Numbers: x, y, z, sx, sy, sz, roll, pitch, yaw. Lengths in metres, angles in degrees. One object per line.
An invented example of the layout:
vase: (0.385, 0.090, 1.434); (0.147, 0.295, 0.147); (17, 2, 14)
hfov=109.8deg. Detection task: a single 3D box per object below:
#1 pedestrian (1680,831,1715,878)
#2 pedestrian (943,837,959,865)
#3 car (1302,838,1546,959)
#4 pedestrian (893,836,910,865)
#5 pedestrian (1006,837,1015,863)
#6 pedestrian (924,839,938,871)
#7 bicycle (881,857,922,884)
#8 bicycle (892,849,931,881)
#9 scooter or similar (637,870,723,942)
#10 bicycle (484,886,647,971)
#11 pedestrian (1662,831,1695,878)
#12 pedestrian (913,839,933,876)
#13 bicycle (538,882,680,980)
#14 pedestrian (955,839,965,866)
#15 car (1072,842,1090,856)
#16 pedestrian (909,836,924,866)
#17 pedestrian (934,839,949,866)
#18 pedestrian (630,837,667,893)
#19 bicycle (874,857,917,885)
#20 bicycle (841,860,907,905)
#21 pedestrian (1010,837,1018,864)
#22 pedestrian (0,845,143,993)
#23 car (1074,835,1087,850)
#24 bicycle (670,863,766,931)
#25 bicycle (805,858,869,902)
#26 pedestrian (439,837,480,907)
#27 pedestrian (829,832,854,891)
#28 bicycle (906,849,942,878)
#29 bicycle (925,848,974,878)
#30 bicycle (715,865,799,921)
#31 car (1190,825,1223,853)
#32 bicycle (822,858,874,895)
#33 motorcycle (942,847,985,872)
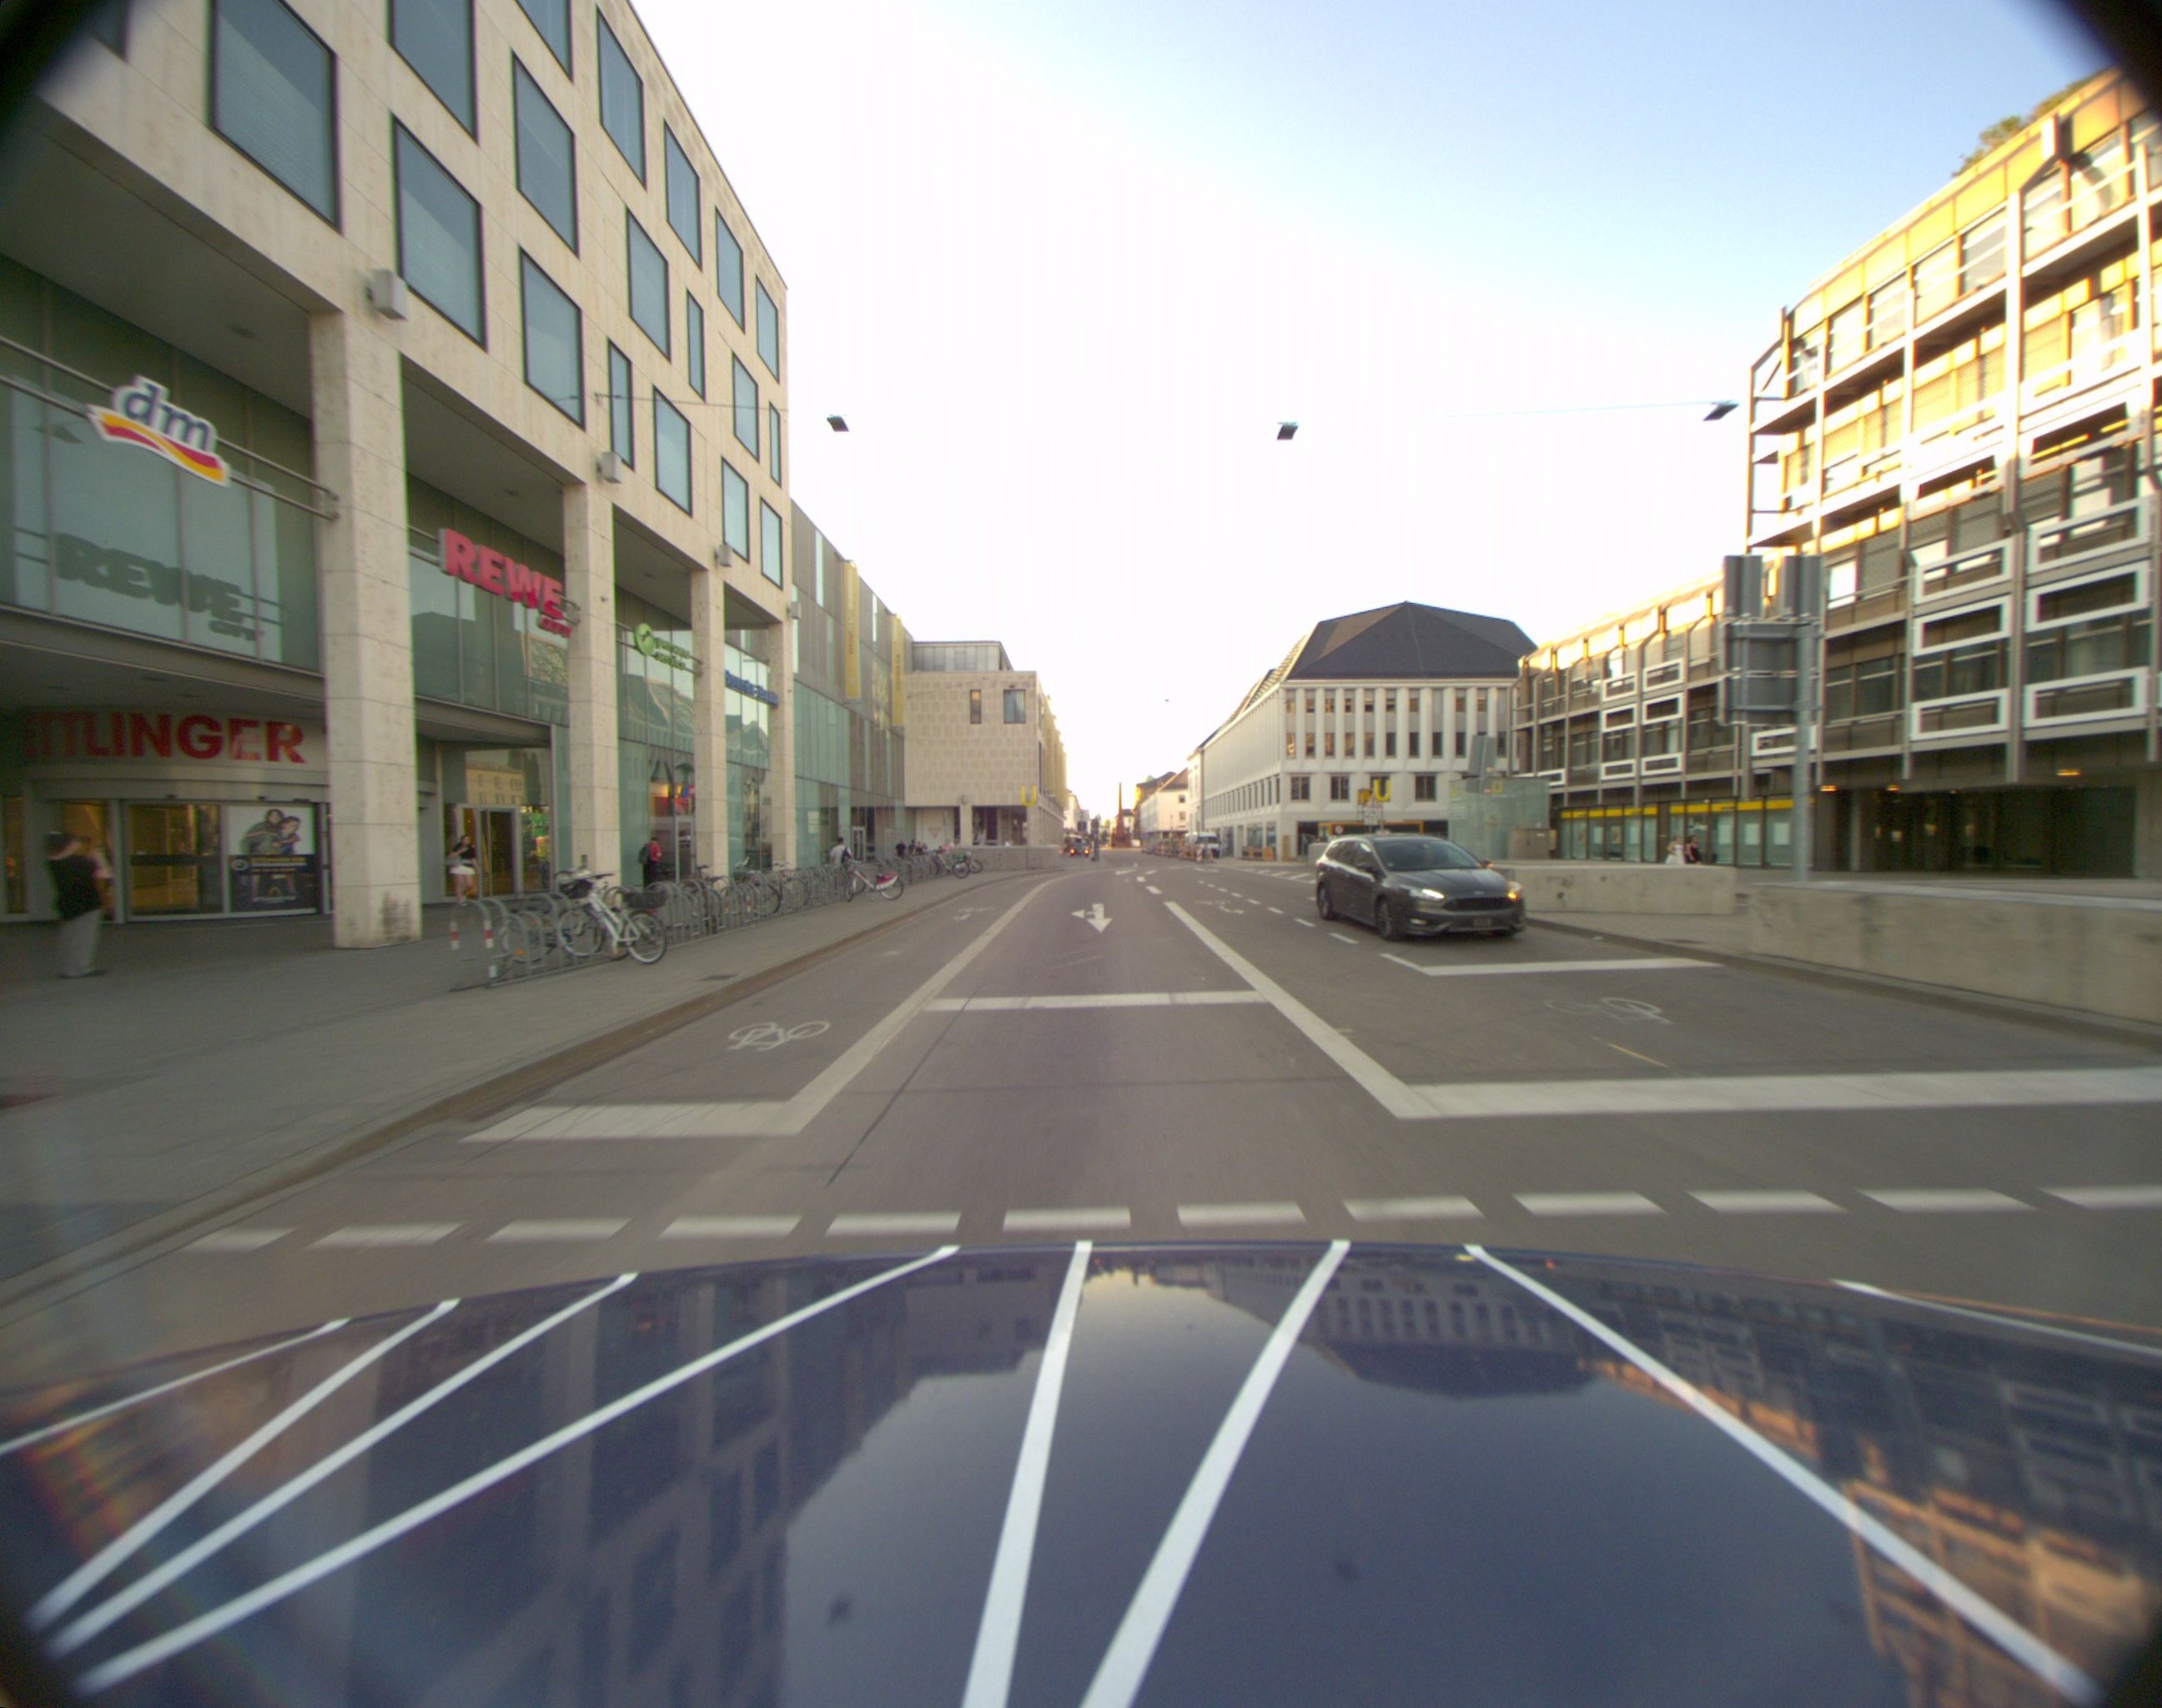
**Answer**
pedestrian: (21.753, 0.020, 26.823); (0.616, 1.630, 0.702); (0, 2, 1)
pedestrian: (-8.281, -0.204, 48.598); (0.793, 1.734, 0.941); (0, 2, 3)
car: (4.964, 0.514, 11.754); (1.762, 1.454, 4.378); (-2, 2, 0)
pedestrian: (-10.117, -0.206, 42.862); (0.740, 1.639, 0.820); (0, 2, -3)
pedestrian: (-4.732, -0.269, 50.795); (0.516, 1.734, 0.492); (0, 2, 3)
pedestrian: (-8.479, 0.066, 42.962); (0.619, 1.770, 0.812); (0, 2, 3)
bicycle: (-6.541, 0.597, 27.747); (1.345, 0.927, 0.518); (-3, 2, -1)
bicycle: (-6.608, 0.423, 29.670); (1.345, 1.157, 0.518); (-3, 2, -1)
scooter or similar: (-6.893, 0.879, 13.102); (1.197, 1.192, 0.492); (0, 2, -4)
bicycle: (-6.943, 0.990, 10.290); (1.774, 1.072, 0.482); (0, 2, -7)
pedestrian: (21.110, 0.002, 26.843); (0.670, 1.630, 0.583); (0, 2, 1)
pedestrian: (-6.979, 0.145, 33.572); (0.809, 1.633, 0.645); (-1, 2, -18)
bicycle: (-6.006, 0.958, 9.702); (1.482, 1.177, 0.548); (0, 2, 5)
pedestrian: (-7.894, -0.111, 49.703); (0.494, 1.734, 0.656); (0, 2, 3)
car: (0.007, -0.521, 80.088); (1.798, 1.365, 3.670); (0, 1, 2)
pedestrian: (-9.283, -0.159, 42.992); (0.698, 1.686, 0.820); (0, 2, -4)
pedestrian: (-9.063, -0.102, 49.452); (0.793, 1.734, 0.656); (0, 2, 3)
pedestrian: (-12.922, 0.309, 22.717); (0.629, 1.642, 0.708); (0, 2, 2)
bicycle: (-6.598, 0.608, 27.101); (1.345, 0.927, 0.518); (-3, 2, -1)
bicycle: (-5.322, 0.720, 19.587); (1.518, 1.057, 0.466); (-3, 2, 1)
pedestrian: (-4.320, -0.211, 49.078); (0.454, 1.734, 0.492); (0, 2, 3)
pedestrian: (-11.735, 0.720, 8.794); (0.793, 1.629, 0.707); (0, 2, -1)
car: (-0.069, -1.679, 112.004); (1.798, 2.199, 3.670); (0, 1, 2)
bicycle: (-7.126, 0.830, 14.958); (1.518, 1.220, 0.618); (-3, 2, 0)
bicycle: (-6.729, 0.709, 20.992); (1.518, 1.118, 0.580); (-3, 2, 4)
pedestrian: (-14.838, 0.410, 18.142); (0.706, 1.643, 0.631); (1, 3, 43)
pedestrian: (-6.958, 0.194, 22.085); (0.630, 1.683, 0.707); (-1, 2, -17)
bicycle: (-6.557, 0.386, 31.755); (1.345, 1.157, 0.518); (-3, 2, -1)
bicycle: (-5.340, 0.371, 30.913); (1.838, 1.140, 0.466); (-3, 2, 1)
bicycle: (-7.055, 0.835, 16.576); (1.519, 1.099, 0.552); (-3, 2, -2)
car: (11.798, -1.434, 71.831); (2.141, 2.541, 6.048); (0, 2, 1)
bicycle: (-7.239, 0.681, 23.671); (1.447, 1.059, 0.580); (-3, 2, -10)
motorcycle: (-5.669, 0.262, 36.767); (2.007, 1.217, 0.480); (0, 2, -3)
